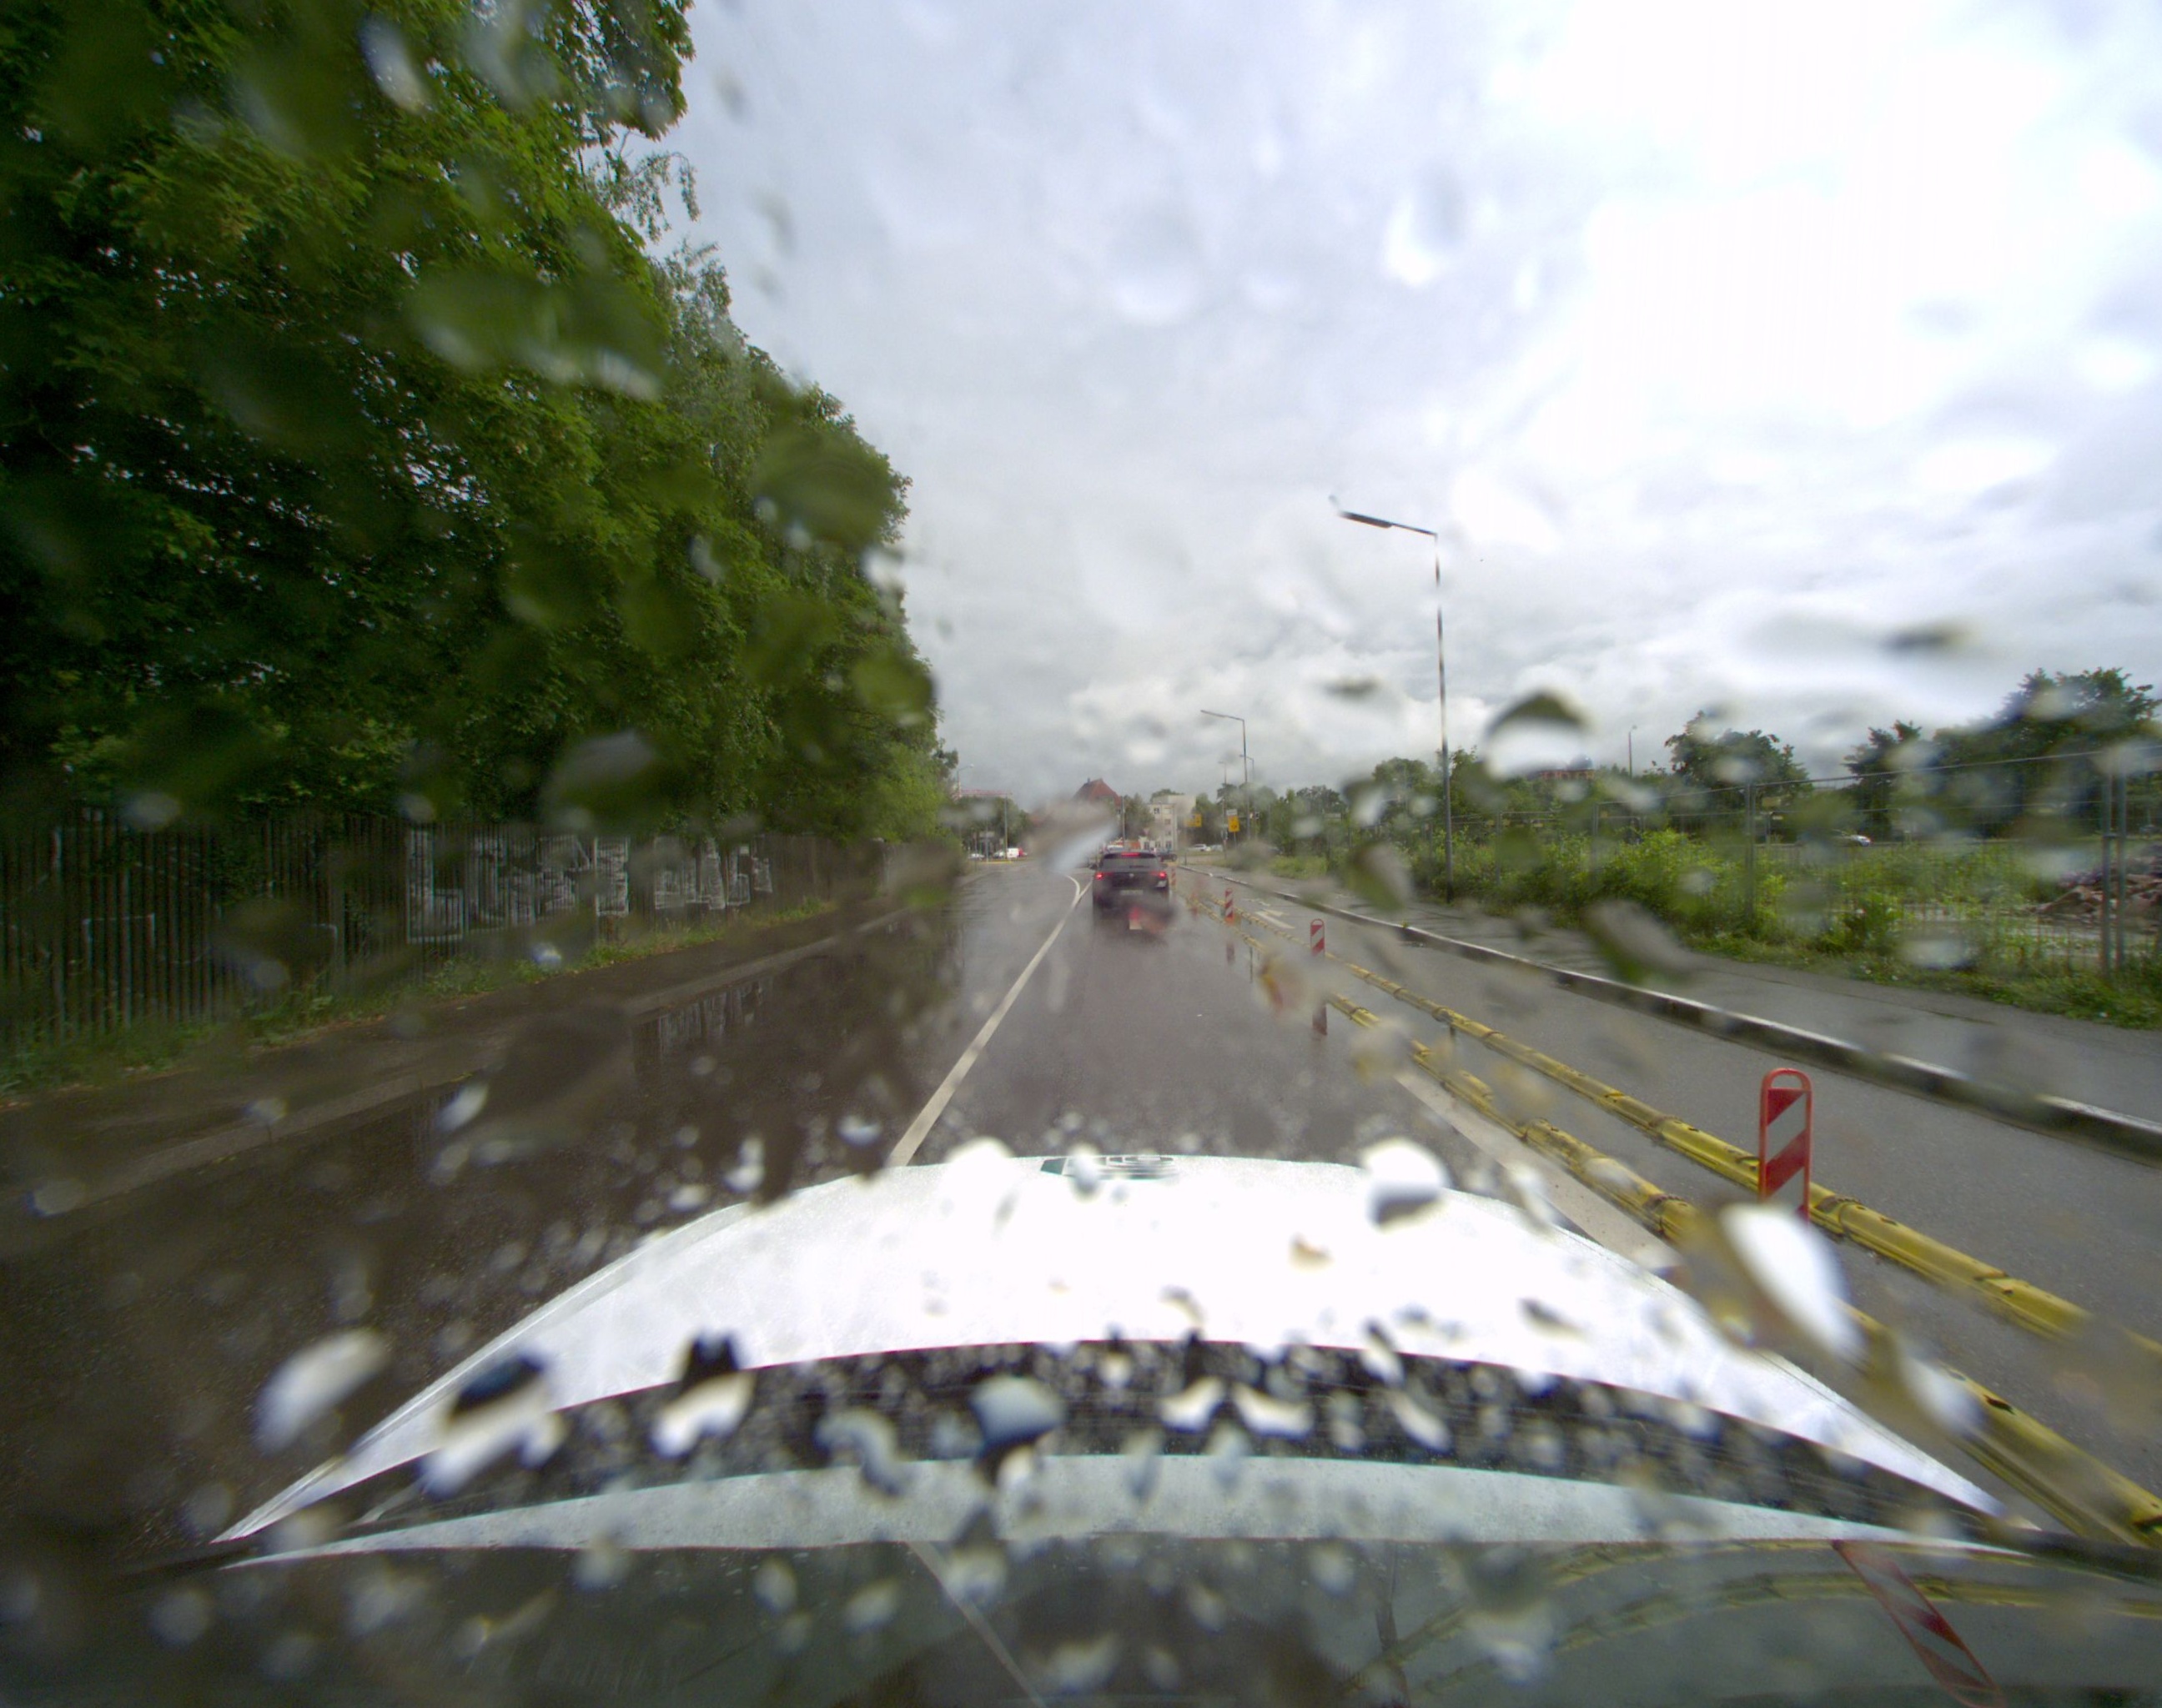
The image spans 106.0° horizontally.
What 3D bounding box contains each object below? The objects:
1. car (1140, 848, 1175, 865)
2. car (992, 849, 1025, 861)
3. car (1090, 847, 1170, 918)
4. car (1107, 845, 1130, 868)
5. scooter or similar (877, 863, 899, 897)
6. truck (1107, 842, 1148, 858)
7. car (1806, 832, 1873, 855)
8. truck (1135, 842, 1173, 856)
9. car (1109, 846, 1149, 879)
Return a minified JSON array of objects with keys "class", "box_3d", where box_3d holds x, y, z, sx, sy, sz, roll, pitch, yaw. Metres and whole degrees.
[{"class":"car","box_3d":[7.860,0.256,83.415,1.649,1.644,3.980,-1,0,36]},{"class":"car","box_3d":[-11.875,0.178,134.289,5.155,1.876,1.873,-2,0,-36]},{"class":"car","box_3d":[1.121,0.651,20.153,1.703,1.574,3.681,-1,0,-1]},{"class":"car","box_3d":[3.208,0.177,68.891,1.856,1.809,4.408,-1,0,4]},{"class":"scooter or similar","box_3d":[-7.036,0.936,29.740,0.561,1.162,1.206,-2,0,-5]},{"class":"truck","box_3d":[8.137,-0.760,141.922,7.035,2.650,2.332,-1,0,3]},{"class":"car","box_3d":[56.333,-0.762,60.553,3.484,1.546,1.641,-2,0,39]},{"class":"truck","box_3d":[13.435,-0.921,149.804,6.661,2.442,2.441,-2,0,10]},{"class":"car","box_3d":[2.322,0.392,40.171,1.729,1.514,3.604,-1,0,0]}]
